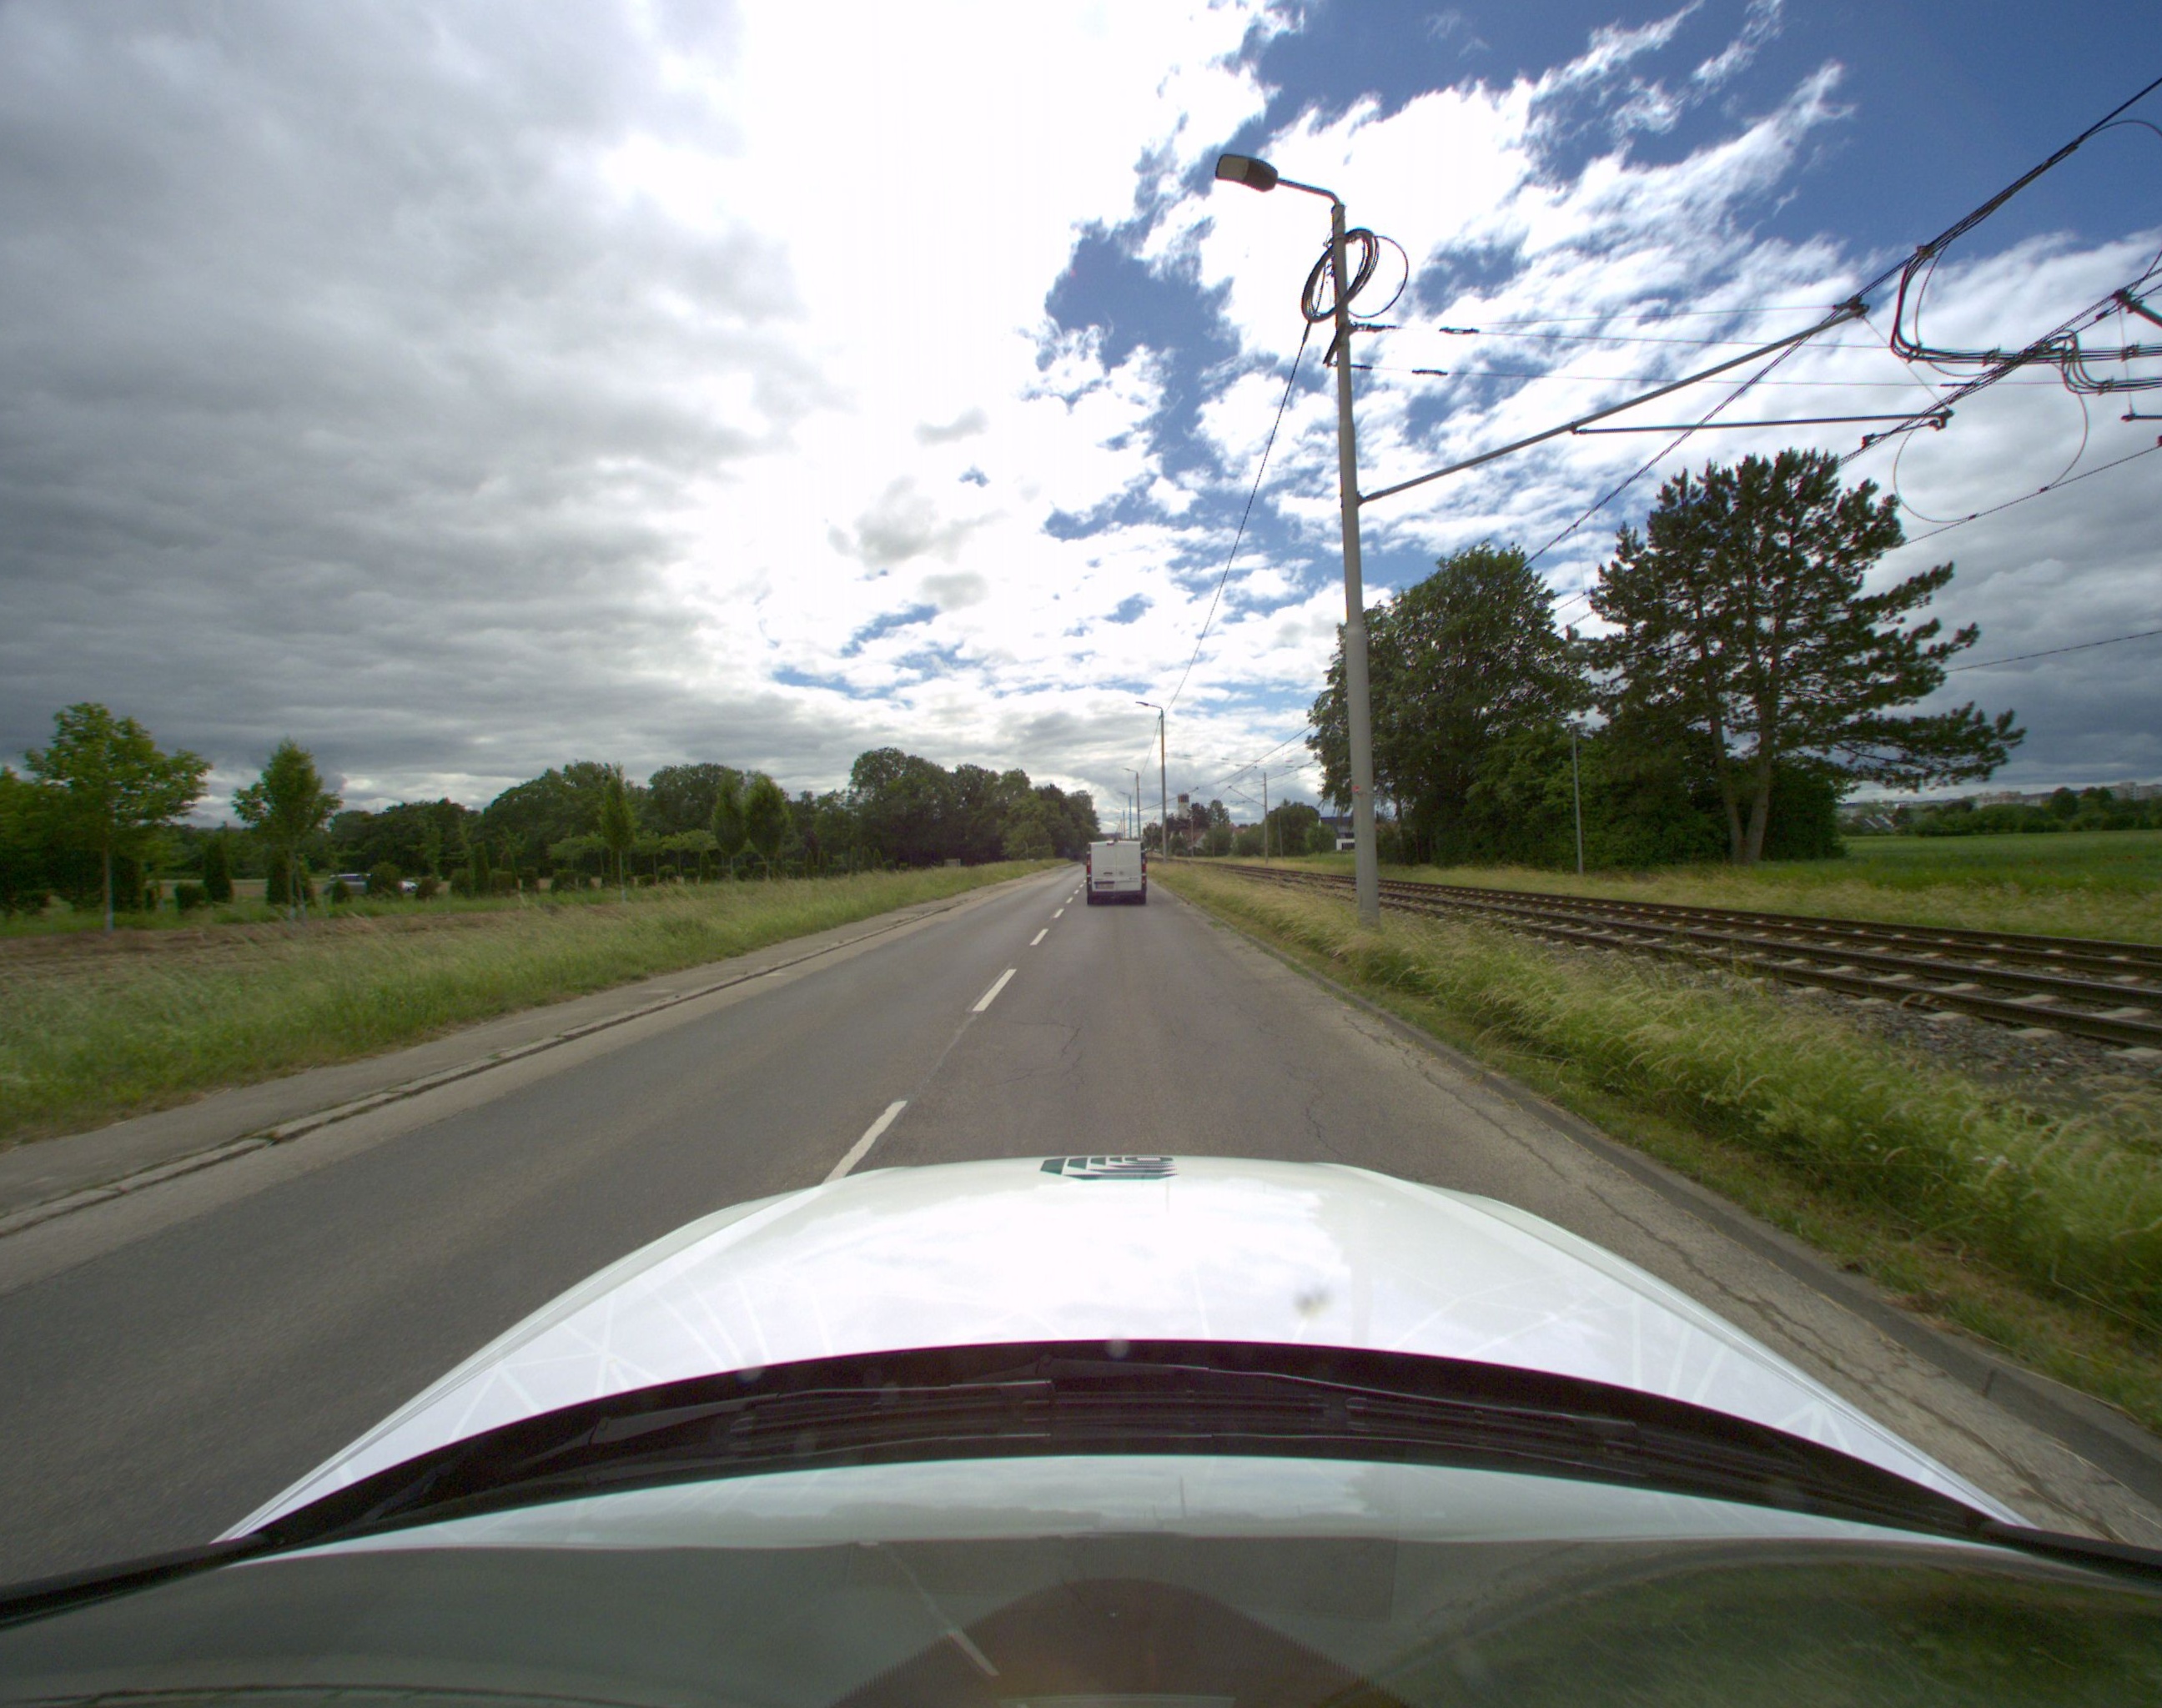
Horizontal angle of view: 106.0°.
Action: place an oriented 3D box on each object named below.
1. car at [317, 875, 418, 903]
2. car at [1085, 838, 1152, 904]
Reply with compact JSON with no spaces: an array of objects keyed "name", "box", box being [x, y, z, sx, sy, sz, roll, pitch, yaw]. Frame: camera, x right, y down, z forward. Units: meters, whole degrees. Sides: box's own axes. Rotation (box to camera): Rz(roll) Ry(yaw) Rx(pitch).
[{"name":"car","box":[-41.982,2.032,48.010,3.993,1.453,1.966,-2,-1,-15]},{"name":"car","box":[1.166,0.518,26.372,1.987,1.957,4.000,-1,0,1]}]
